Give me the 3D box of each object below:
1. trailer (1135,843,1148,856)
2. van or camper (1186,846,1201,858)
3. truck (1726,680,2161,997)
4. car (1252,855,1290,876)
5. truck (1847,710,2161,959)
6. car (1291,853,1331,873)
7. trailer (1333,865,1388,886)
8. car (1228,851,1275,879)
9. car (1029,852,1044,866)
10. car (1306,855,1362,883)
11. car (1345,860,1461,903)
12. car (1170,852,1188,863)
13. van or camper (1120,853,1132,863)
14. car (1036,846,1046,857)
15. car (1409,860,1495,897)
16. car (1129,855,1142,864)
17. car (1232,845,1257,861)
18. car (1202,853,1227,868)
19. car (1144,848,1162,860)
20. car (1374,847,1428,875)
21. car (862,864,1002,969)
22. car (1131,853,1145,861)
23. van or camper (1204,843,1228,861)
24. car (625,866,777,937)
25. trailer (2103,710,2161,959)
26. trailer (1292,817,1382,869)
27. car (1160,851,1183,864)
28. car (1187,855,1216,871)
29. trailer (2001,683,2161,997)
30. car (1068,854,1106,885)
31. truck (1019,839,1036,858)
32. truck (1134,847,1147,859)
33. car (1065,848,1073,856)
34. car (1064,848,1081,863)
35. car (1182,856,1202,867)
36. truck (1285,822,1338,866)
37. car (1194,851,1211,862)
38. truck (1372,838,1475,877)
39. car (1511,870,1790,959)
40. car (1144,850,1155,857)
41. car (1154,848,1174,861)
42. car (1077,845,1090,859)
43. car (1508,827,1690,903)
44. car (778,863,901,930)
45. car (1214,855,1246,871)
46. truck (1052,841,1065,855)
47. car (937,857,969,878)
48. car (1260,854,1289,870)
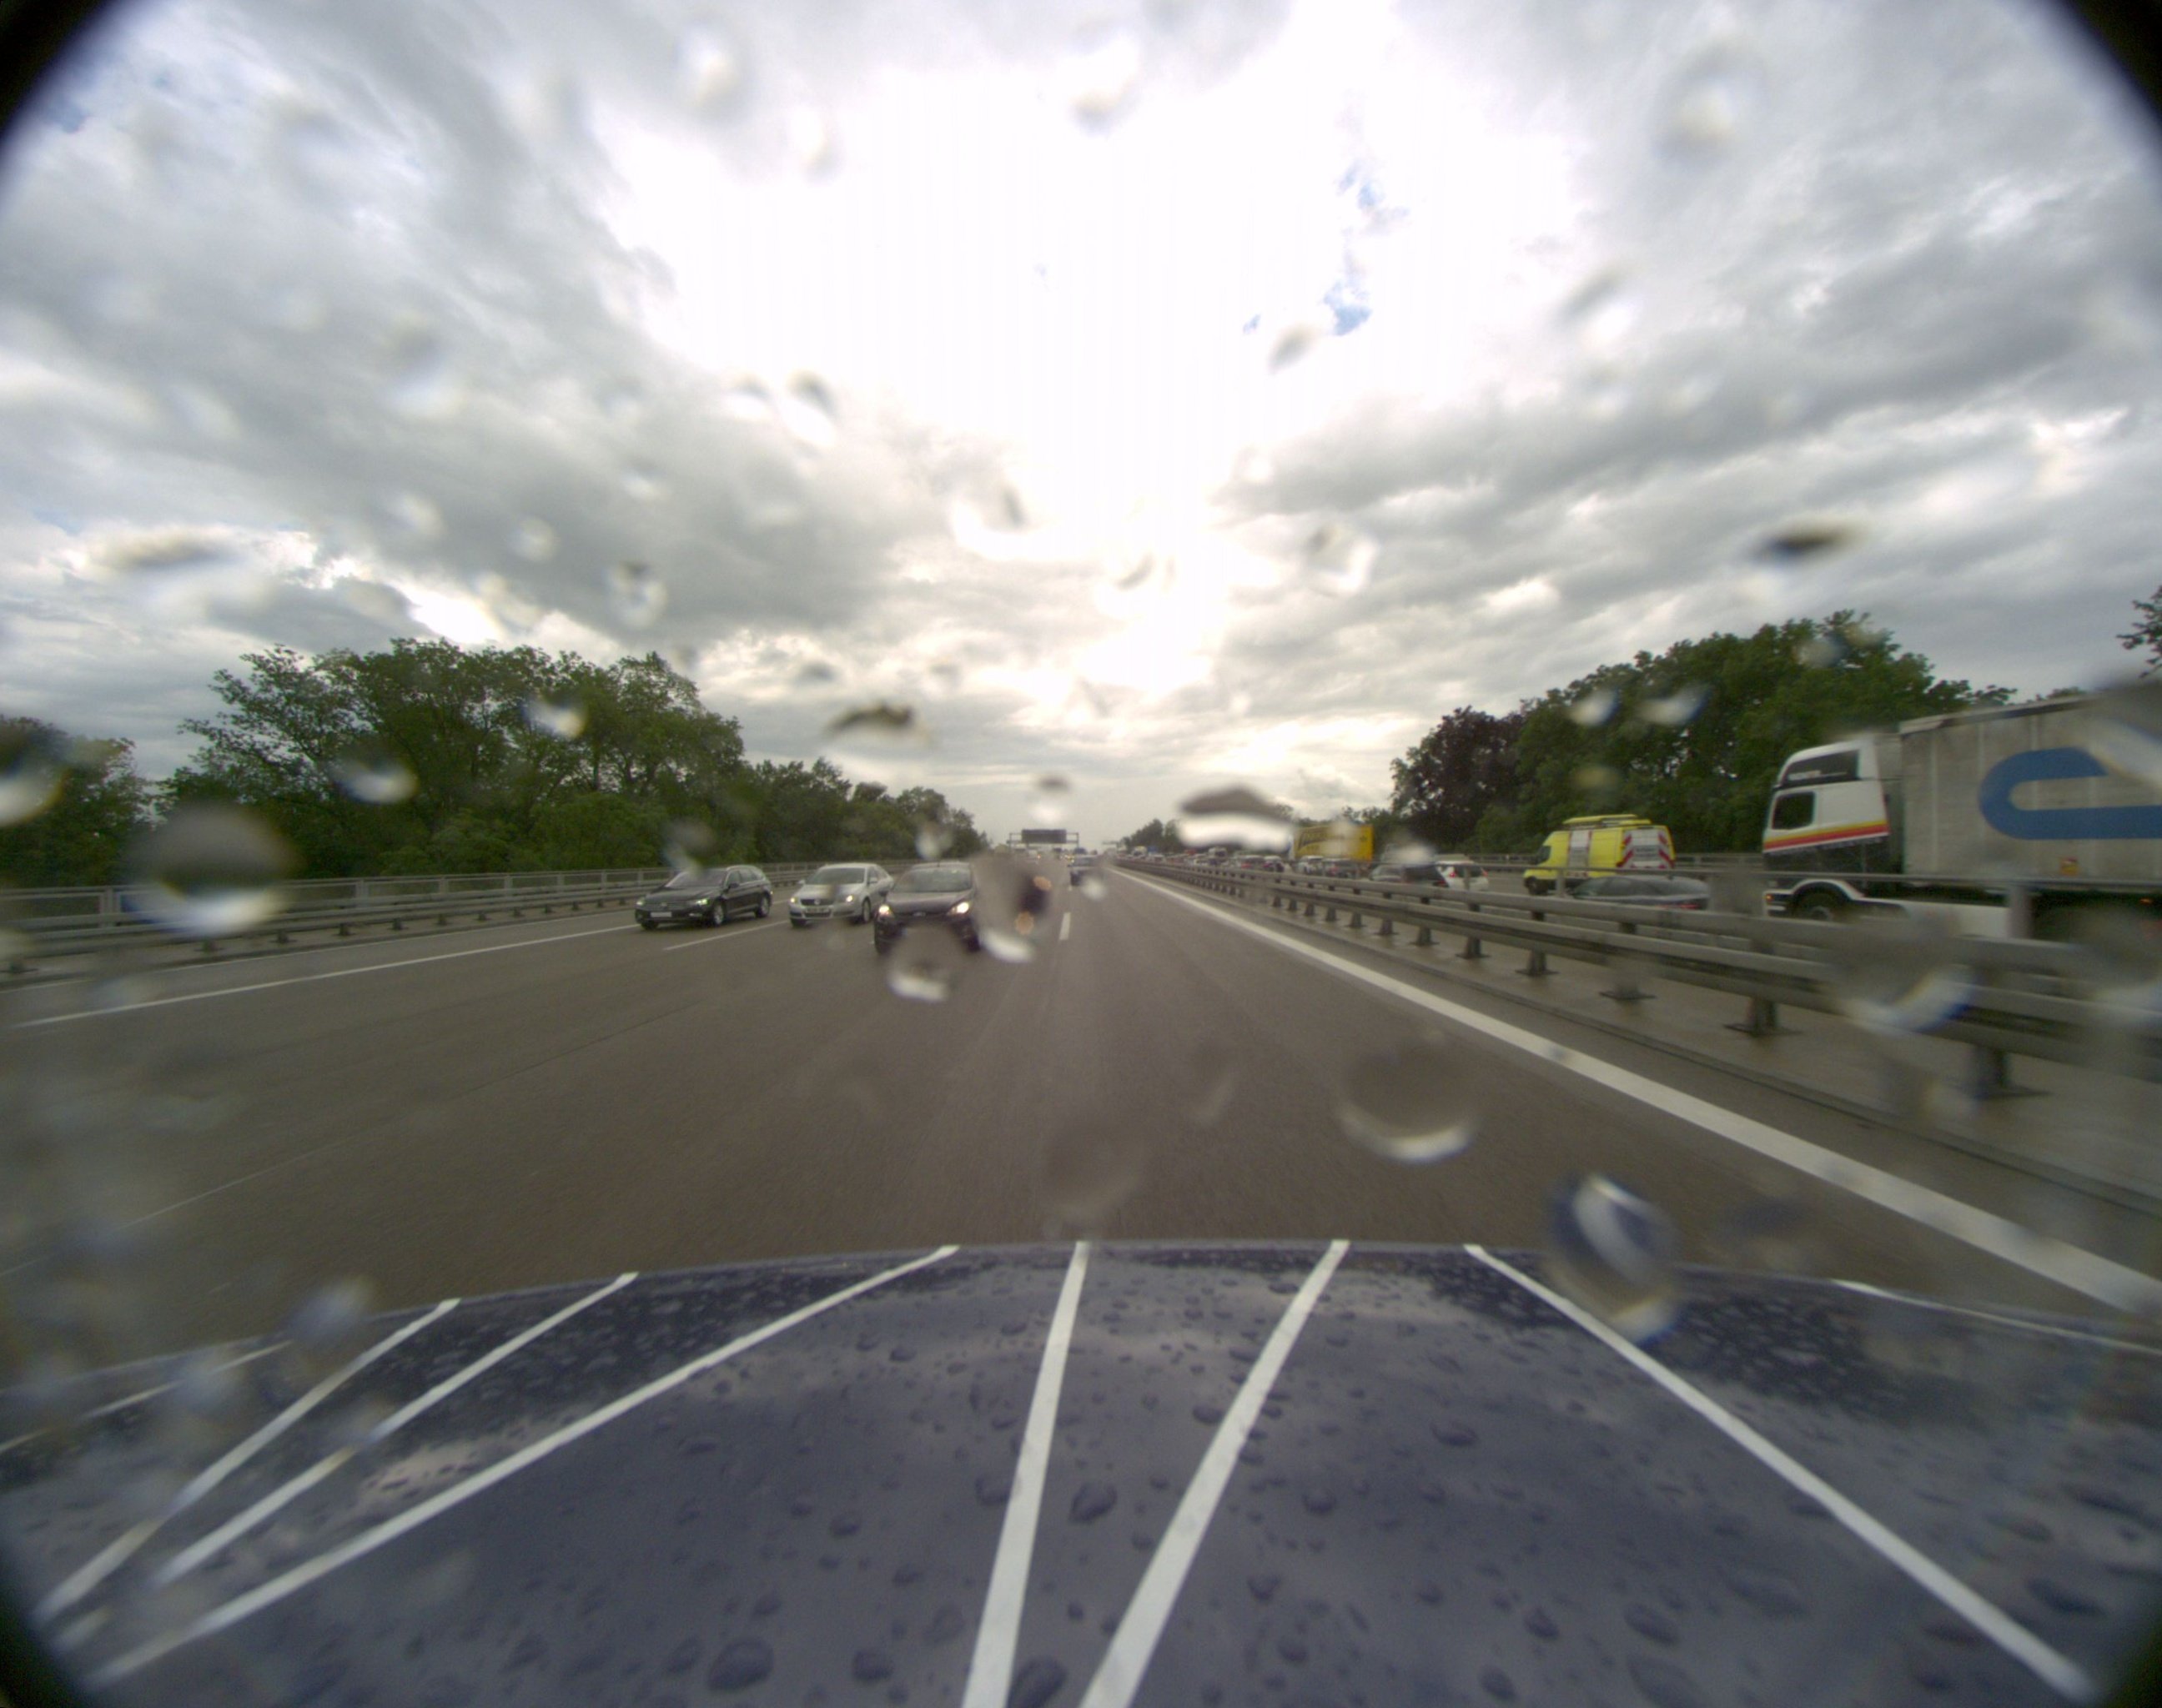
[{"bbox_3d":[18.501,-1.289,234.062,2.468,3.935,13.216,-1,0,-2],"label":"trailer"},{"bbox_3d":[22.372,-0.395,151.035,1.945,2.291,6.232,-1,0,-2],"label":"van or camper"},{"bbox_3d":[15.605,-0.225,12.866,2.888,4.156,7.556,0,0,0],"label":"truck"},{"bbox_3d":[14.872,0.884,59.796,1.752,1.567,4.417,0,0,-2],"label":"car"},{"bbox_3d":[19.373,-0.347,14.264,2.911,4.123,7.101,0,0,1],"label":"truck"},{"bbox_3d":[18.361,0.695,60.786,1.752,1.470,4.417,0,0,-2],"label":"car"},{"bbox_3d":[15.486,1.158,42.282,1.730,1.032,3.340,0,0,-3],"label":"trailer"},{"bbox_3d":[11.469,0.714,51.422,1.918,1.756,5.330,-1,0,0],"label":"car"},{"bbox_3d":[-6.056,0.619,102.984,1.962,1.831,3.999,-1,1,-2],"label":"car"},{"bbox_3d":[15.328,0.861,46.306,1.752,1.567,4.688,0,0,-2],"label":"car"},{"bbox_3d":[11.839,0.944,28.420,2.020,1.379,5.458,0,0,0],"label":"car"},{"bbox_3d":[14.681,0.582,114.087,1.868,1.603,4.462,0,0,-3],"label":"car"},{"bbox_3d":[9.797,0.853,164.676,1.989,2.056,5.641,-1,0,-3],"label":"van or camper"},{"bbox_3d":[-9.334,-0.651,176.694,2.037,2.587,4.513,0,0,-1],"label":"car"},{"bbox_3d":[15.667,1.000,32.316,1.606,1.379,4.099,0,0,0],"label":"car"},{"bbox_3d":[10.594,1.006,147.721,1.830,1.665,5.357,-1,0,-2],"label":"car"},{"bbox_3d":[22.288,-0.165,103.564,1.999,2.002,5.410,-1,0,-3],"label":"car"},{"bbox_3d":[15.202,0.685,86.556,1.784,1.602,4.576,0,0,-3],"label":"car"},{"bbox_3d":[10.849,-0.001,114.318,1.871,1.816,5.707,-1,0,-3],"label":"car"},{"bbox_3d":[18.908,0.399,45.056,1.537,1.586,3.999,-1,0,0],"label":"car"},{"bbox_3d":[-2.452,0.961,13.557,1.668,1.431,4.404,-1,1,-1],"label":"car"},{"bbox_3d":[10.130,0.505,135.316,1.879,1.384,5.363,-1,0,-3],"label":"car"},{"bbox_3d":[21.520,-0.331,121.374,2.208,2.749,7.229,-1,0,-3],"label":"van or camper"},{"bbox_3d":[-9.595,1.119,19.638,1.820,1.534,4.357,-1,0,-2],"label":"car"},{"bbox_3d":[19.208,-0.308,6.760,2.887,4.121,13.028,0,0,1],"label":"trailer"},{"bbox_3d":[23.127,-0.947,69.787,3.256,4.203,14.507,0,0,0],"label":"trailer"},{"bbox_3d":[10.805,0.439,90.836,2.000,1.454,4.840,-1,0,-3],"label":"car"},{"bbox_3d":[11.087,0.781,70.305,1.767,1.375,4.819,0,0,-2],"label":"car"},{"bbox_3d":[15.687,-0.169,5.212,2.888,4.121,13.026,0,0,0],"label":"trailer"},{"bbox_3d":[0.338,0.741,38.669,1.781,1.399,5.016,-1,0,1],"label":"car"},{"bbox_3d":[-11.448,-1.100,163.078,3.255,3.884,12.309,-2,0,-4],"label":"truck"},{"bbox_3d":[13.632,-0.213,175.447,2.152,2.587,8.754,-1,0,-1],"label":"truck"},{"bbox_3d":[-3.133,-0.612,198.987,1.999,2.002,3.507,-2,0,-1],"label":"car"},{"bbox_3d":[-1.062,0.207,96.112,2.133,1.831,4.000,-1,1,1],"label":"car"},{"bbox_3d":[14.740,0.984,101.079,1.821,1.417,4.475,0,0,-3],"label":"car"},{"bbox_3d":[23.086,-0.987,76.510,3.256,4.225,6.881,0,0,0],"label":"truck"},{"bbox_3d":[18.688,0.318,116.773,1.732,1.603,4.461,0,0,-3],"label":"car"},{"bbox_3d":[22.648,0.183,50.926,2.687,2.357,9.273,0,0,0],"label":"truck"},{"bbox_3d":[11.426,1.112,15.868,1.927,1.410,5.164,0,0,0],"label":"car"},{"bbox_3d":[16.723,-0.142,185.113,1.999,1.698,3.999,-1,0,-2],"label":"car"},{"bbox_3d":[11.210,0.079,102.543,1.872,1.660,5.172,-1,0,-3],"label":"car"},{"bbox_3d":[0.417,-0.307,131.433,1.999,2.354,4.171,-2,0,-1],"label":"car"},{"bbox_3d":[18.988,0.343,28.442,2.161,2.490,6.771,0,0,0],"label":"car"},{"bbox_3d":[-6.040,1.000,19.546,1.898,1.438,4.245,-1,0,-2],"label":"car"},{"bbox_3d":[14.455,0.862,73.819,1.814,1.471,5.218,0,0,-3],"label":"car"},{"bbox_3d":[-6.267,-1.589,208.782,2.958,3.777,12.322,-2,0,-5],"label":"truck"},{"bbox_3d":[-9.472,0.945,56.518,1.782,1.438,4.587,-1,0,-2],"label":"car"},{"bbox_3d":[18.587,0.731,73.182,1.827,1.429,4.052,0,0,1],"label":"car"}]
